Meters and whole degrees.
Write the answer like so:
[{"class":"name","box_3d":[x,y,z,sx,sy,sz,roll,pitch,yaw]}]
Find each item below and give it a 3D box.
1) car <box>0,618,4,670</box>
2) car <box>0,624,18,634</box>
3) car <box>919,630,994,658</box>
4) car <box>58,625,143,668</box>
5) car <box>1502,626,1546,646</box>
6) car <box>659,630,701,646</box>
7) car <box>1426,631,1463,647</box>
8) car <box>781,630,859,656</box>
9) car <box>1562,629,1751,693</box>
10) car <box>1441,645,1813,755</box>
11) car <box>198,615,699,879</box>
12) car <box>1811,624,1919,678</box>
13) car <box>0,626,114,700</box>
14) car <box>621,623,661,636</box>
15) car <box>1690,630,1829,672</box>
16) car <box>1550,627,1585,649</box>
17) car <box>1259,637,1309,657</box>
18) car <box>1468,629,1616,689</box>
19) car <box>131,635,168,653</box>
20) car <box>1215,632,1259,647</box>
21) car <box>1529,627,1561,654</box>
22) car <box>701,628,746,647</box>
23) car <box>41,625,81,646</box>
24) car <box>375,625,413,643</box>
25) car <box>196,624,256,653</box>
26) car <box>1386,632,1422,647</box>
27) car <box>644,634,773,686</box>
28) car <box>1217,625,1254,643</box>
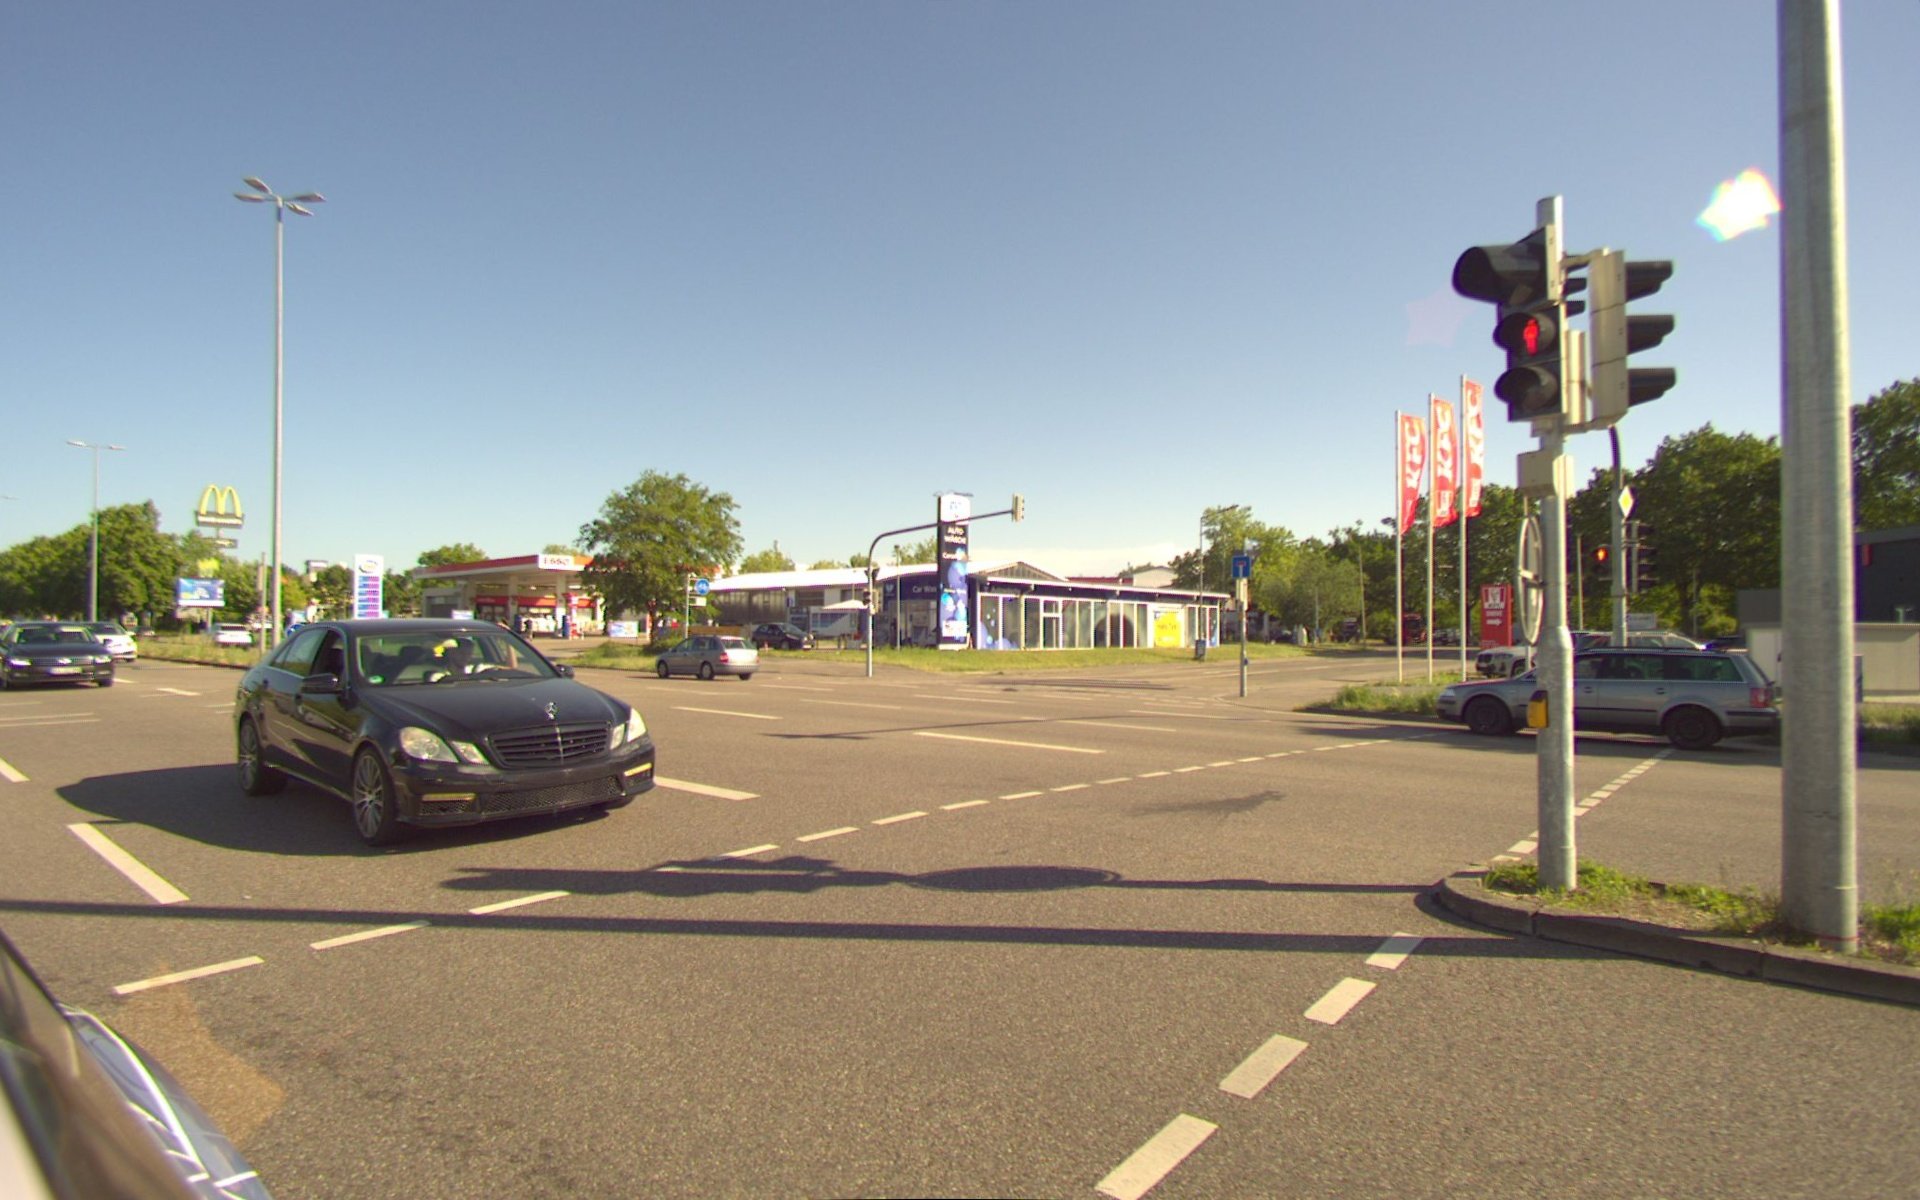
[{"class":"car","box_3d":[-34.150,1.490,34.403,4.694,1.696,1.973,-1,-1,41]},{"class":"car","box_3d":[-148.411,4.551,157.866,4.457,1.443,1.677,-1,-4,42]},{"class":"car","box_3d":[-0.147,2.406,55.219,1.900,1.443,4.063,-1,-4,41]},{"class":"car","box_3d":[-31.057,1.659,36.515,4.115,1.466,1.767,-1,-3,42]},{"class":"car","box_3d":[54.228,3.469,97.338,2.077,1.813,4.775,1,-2,8]},{"class":"car","box_3d":[-26.508,3.579,95.825,4.116,1.451,1.749,-1,-3,40]},{"class":"car","box_3d":[56.865,4.633,118.907,2.072,1.813,4.786,1,-2,0]},{"class":"car","box_3d":[-7.609,2.318,54.841,4.116,1.335,1.876,-1,-4,40]},{"class":"car","box_3d":[19.824,1.715,28.936,4.073,1.674,1.896,-1,-1,-1]},{"class":"car","box_3d":[10.245,1.427,15.762,4.621,1.387,1.973,-1,-3,41]},{"class":"car","box_3d":[-4.328,0.891,8.125,4.916,1.494,1.938,-1,-2,42]},{"class":"car","box_3d":[31.508,1.715,34.190,3.940,1.762,1.885,0,-2,-3]},{"class":"car","box_3d":[-20.250,1.314,22.347,4.264,1.464,1.824,-1,-2,42]},{"class":"car","box_3d":[-31.469,2.925,99.741,4.116,1.236,1.876,-1,-4,40]},{"class":"car","box_3d":[30.949,1.959,39.256,3.940,1.530,1.885,0,-1,-3]},{"class":"car","box_3d":[48.681,3.067,81.204,1.898,1.681,4.264,0,-3,24]},{"class":"car","box_3d":[28.296,4.095,88.462,3.694,1.681,1.882,-1,-3,44]},{"class":"car","box_3d":[19.254,1.924,33.621,3.778,1.865,1.847,-1,-1,1]},{"class":"car","box_3d":[-69.199,3.756,86.369,4.457,1.443,1.677,-1,-4,42]},{"class":"car","box_3d":[27.489,3.924,100.403,4.087,1.443,1.889,0,-3,19]},{"class":"car","box_3d":[41.182,2.876,71.189,1.903,1.857,4.254,0,-3,31]},{"class":"car","box_3d":[-21.404,3.418,91.571,4.117,1.603,1.876,-1,-4,40]},{"class":"car","box_3d":[-64.782,2.540,72.892,3.663,1.443,1.677,-1,-4,42]},{"class":"car","box_3d":[-53.763,3.189,96.099,4.116,1.625,1.740,-1,-4,40]},{"class":"car","box_3d":[-42.753,2.237,58.909,4.265,1.612,1.875,-1,-4,42]},{"class":"car","box_3d":[56.519,5.056,128.939,2.069,1.813,4.793,1,-2,-6]},{"class":"car","box_3d":[-8.063,1.880,32.321,4.194,1.537,1.973,-2,-3,41]},{"class":"car","box_3d":[33.727,4.213,123.913,4.063,2.109,1.900,1,-3,2]}]
